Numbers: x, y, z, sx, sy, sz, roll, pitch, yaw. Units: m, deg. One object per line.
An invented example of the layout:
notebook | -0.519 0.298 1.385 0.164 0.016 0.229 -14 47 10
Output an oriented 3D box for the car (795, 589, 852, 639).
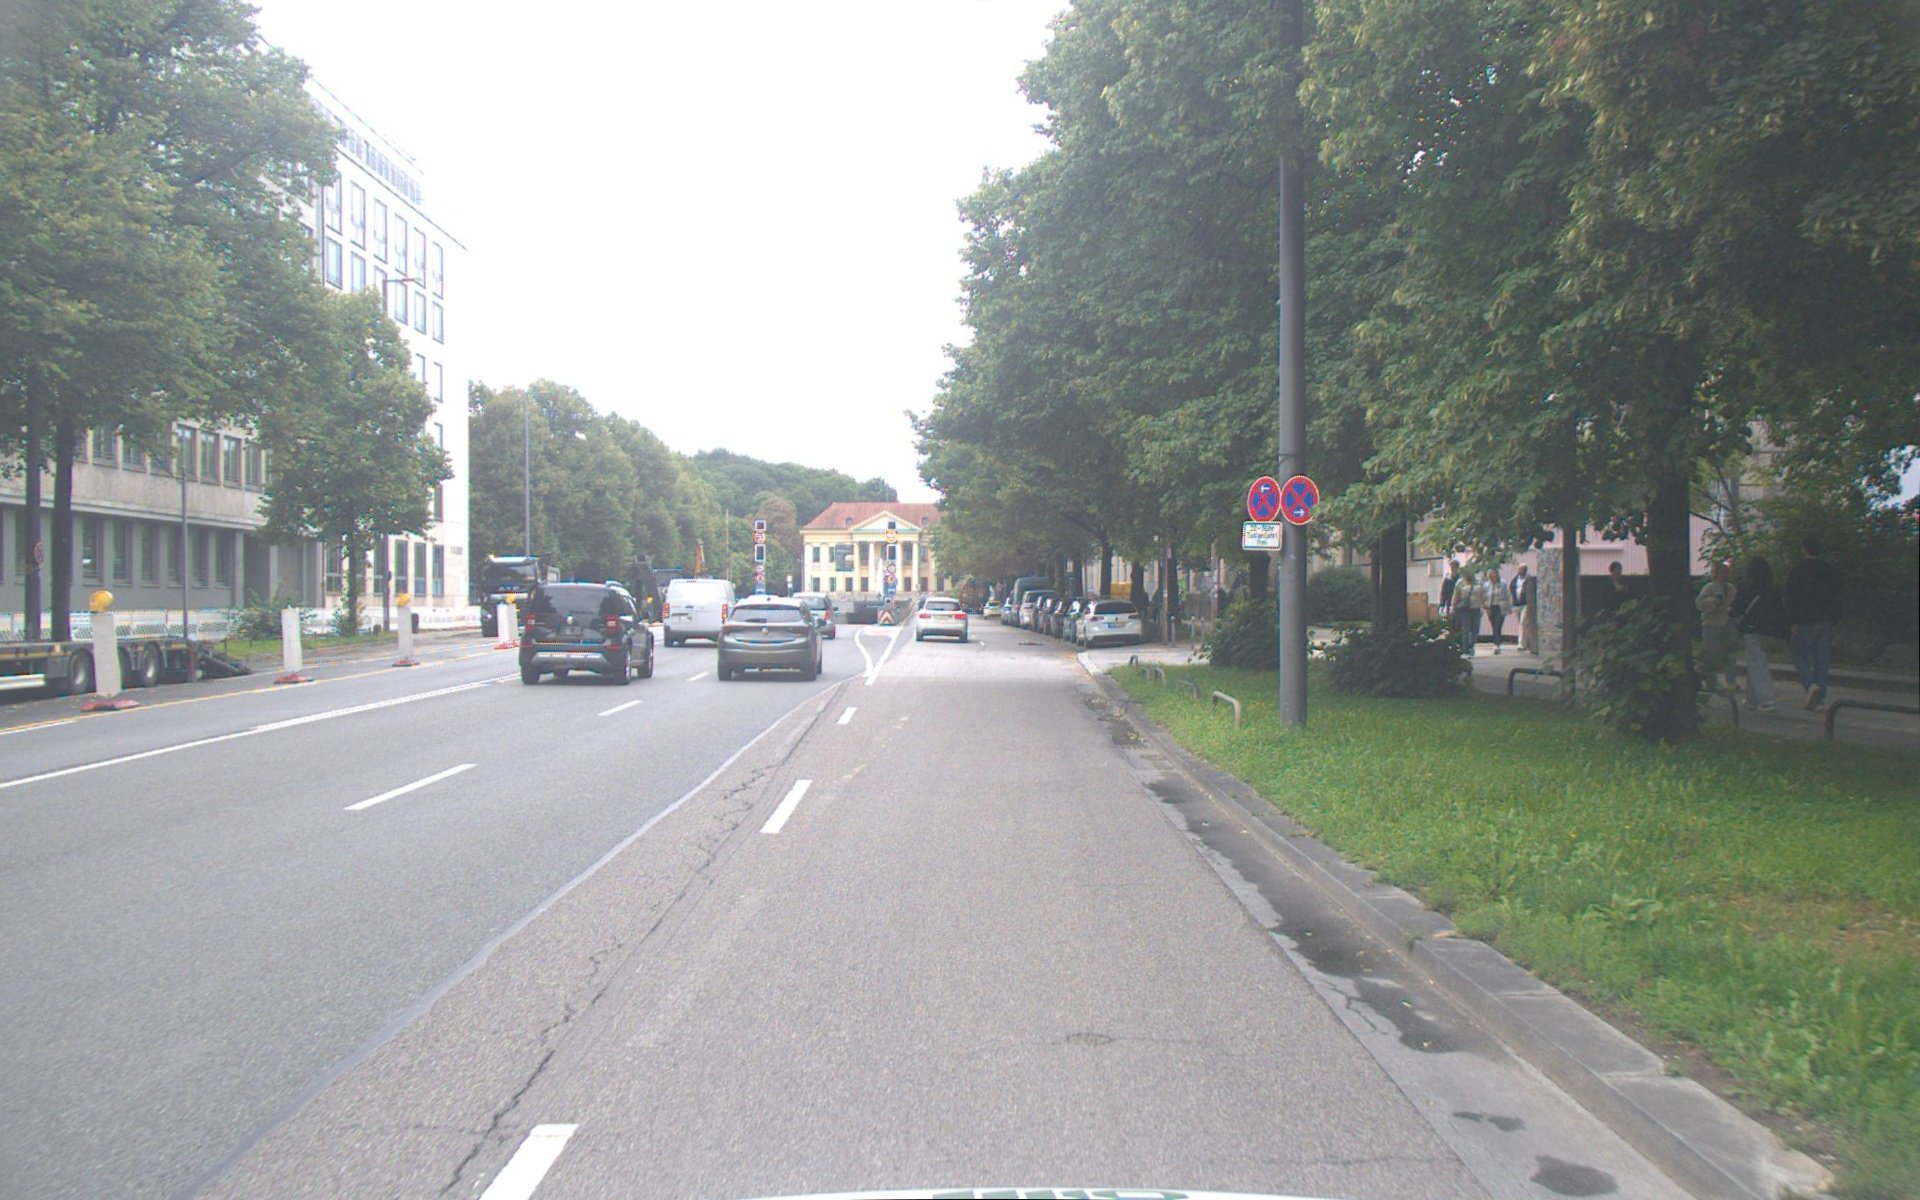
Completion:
car | -4.756 0.471 58.194 1.743 1.683 3.999 1 0 -2

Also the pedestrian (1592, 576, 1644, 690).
pedestrian | 10.028 0.497 25.232 0.568 1.705 0.553 1 0 2

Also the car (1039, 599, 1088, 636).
car | 4.354 0.725 69.867 1.785 1.490 4.027 -1 0 0

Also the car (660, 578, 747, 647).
car | -7.346 0.341 47.734 1.860 1.880 4.954 0 0 -2

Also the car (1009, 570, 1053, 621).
car | 3.874 -0.230 90.398 1.953 2.689 4.875 1 0 -3

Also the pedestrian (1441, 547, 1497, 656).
pedestrian | 9.934 0.030 32.277 0.747 2.048 0.776 -3 0 -1

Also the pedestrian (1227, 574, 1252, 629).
pedestrian | 10.025 0.041 59.385 0.748 1.943 0.771 1 0 -1

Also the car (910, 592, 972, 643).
car | -0.701 0.566 57.146 1.745 1.673 3.995 1 0 -6

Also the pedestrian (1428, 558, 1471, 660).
pedestrian | 9.988 0.186 33.796 0.582 2.049 0.724 -2 0 -1

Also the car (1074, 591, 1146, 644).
car | 4.690 0.526 52.272 1.790 1.577 4.751 -1 0 0

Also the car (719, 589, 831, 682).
car | -3.373 0.617 30.817 1.675 1.579 3.999 1 0 -1

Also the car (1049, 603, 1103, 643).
car | 4.465 0.863 64.136 1.689 1.490 4.775 -1 0 0

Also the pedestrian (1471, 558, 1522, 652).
pedestrian | 10.782 0.098 33.226 0.587 1.840 0.718 -2 0 -25

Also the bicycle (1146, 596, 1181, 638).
bicycle | 6.363 0.523 51.759 0.616 1.252 2.617 1 0 -3

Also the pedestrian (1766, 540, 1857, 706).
pedestrian | 9.438 0.250 18.350 0.595 1.794 0.797 1 0 2

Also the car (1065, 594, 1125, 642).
car | 4.659 0.608 57.545 1.689 1.577 4.585 -1 0 0

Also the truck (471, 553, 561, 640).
truck | -18.859 -0.155 70.728 2.788 3.415 8.745 1 0 -9

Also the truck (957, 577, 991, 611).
truck | 1.413 -0.644 174.146 3.258 3.426 8.660 1 0 -1

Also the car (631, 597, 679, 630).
car | -15.518 0.692 84.294 1.954 1.624 3.996 -1 0 -4

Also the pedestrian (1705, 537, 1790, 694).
pedestrian | 8.822 0.170 18.546 0.595 1.710 0.754 1 0 2

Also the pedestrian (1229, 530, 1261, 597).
pedestrian | 8.387 -1.061 48.653 0.763 1.943 0.771 1 0 -1

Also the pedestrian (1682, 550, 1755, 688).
pedestrian | 10.125 0.248 22.110 0.617 1.805 0.782 1 0 2

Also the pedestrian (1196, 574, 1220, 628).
pedestrian | 8.906 0.036 59.395 0.685 1.943 0.771 1 0 -1

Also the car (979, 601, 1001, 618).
car | 2.445 0.760 137.125 1.689 1.347 4.027 -1 0 0

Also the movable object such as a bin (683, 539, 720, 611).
movable object such as a bin | -24.391 -2.297 156.222 2.644 6.625 5.175 1 0 -1

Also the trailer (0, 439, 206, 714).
trailer | -14.904 -0.350 24.543 2.892 3.805 11.758 1 0 -5

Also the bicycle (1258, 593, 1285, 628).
bicycle | 13.091 0.449 69.571 0.685 1.440 2.298 -1 0 -1

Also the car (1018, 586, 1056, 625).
car | 3.853 0.270 83.415 1.689 1.900 4.027 -1 0 0

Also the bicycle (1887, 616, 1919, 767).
bicycle | 6.847 0.641 10.817 0.376 1.039 2.078 1 0 -1

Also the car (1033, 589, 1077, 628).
car | 4.314 0.391 75.860 1.689 1.694 4.589 -1 0 0

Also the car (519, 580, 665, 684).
car | -6.264 0.522 28.567 1.688 1.665 4.203 0 0 -2

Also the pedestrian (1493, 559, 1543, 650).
pedestrian | 11.509 0.092 34.124 0.587 1.840 0.718 -2 0 -25
